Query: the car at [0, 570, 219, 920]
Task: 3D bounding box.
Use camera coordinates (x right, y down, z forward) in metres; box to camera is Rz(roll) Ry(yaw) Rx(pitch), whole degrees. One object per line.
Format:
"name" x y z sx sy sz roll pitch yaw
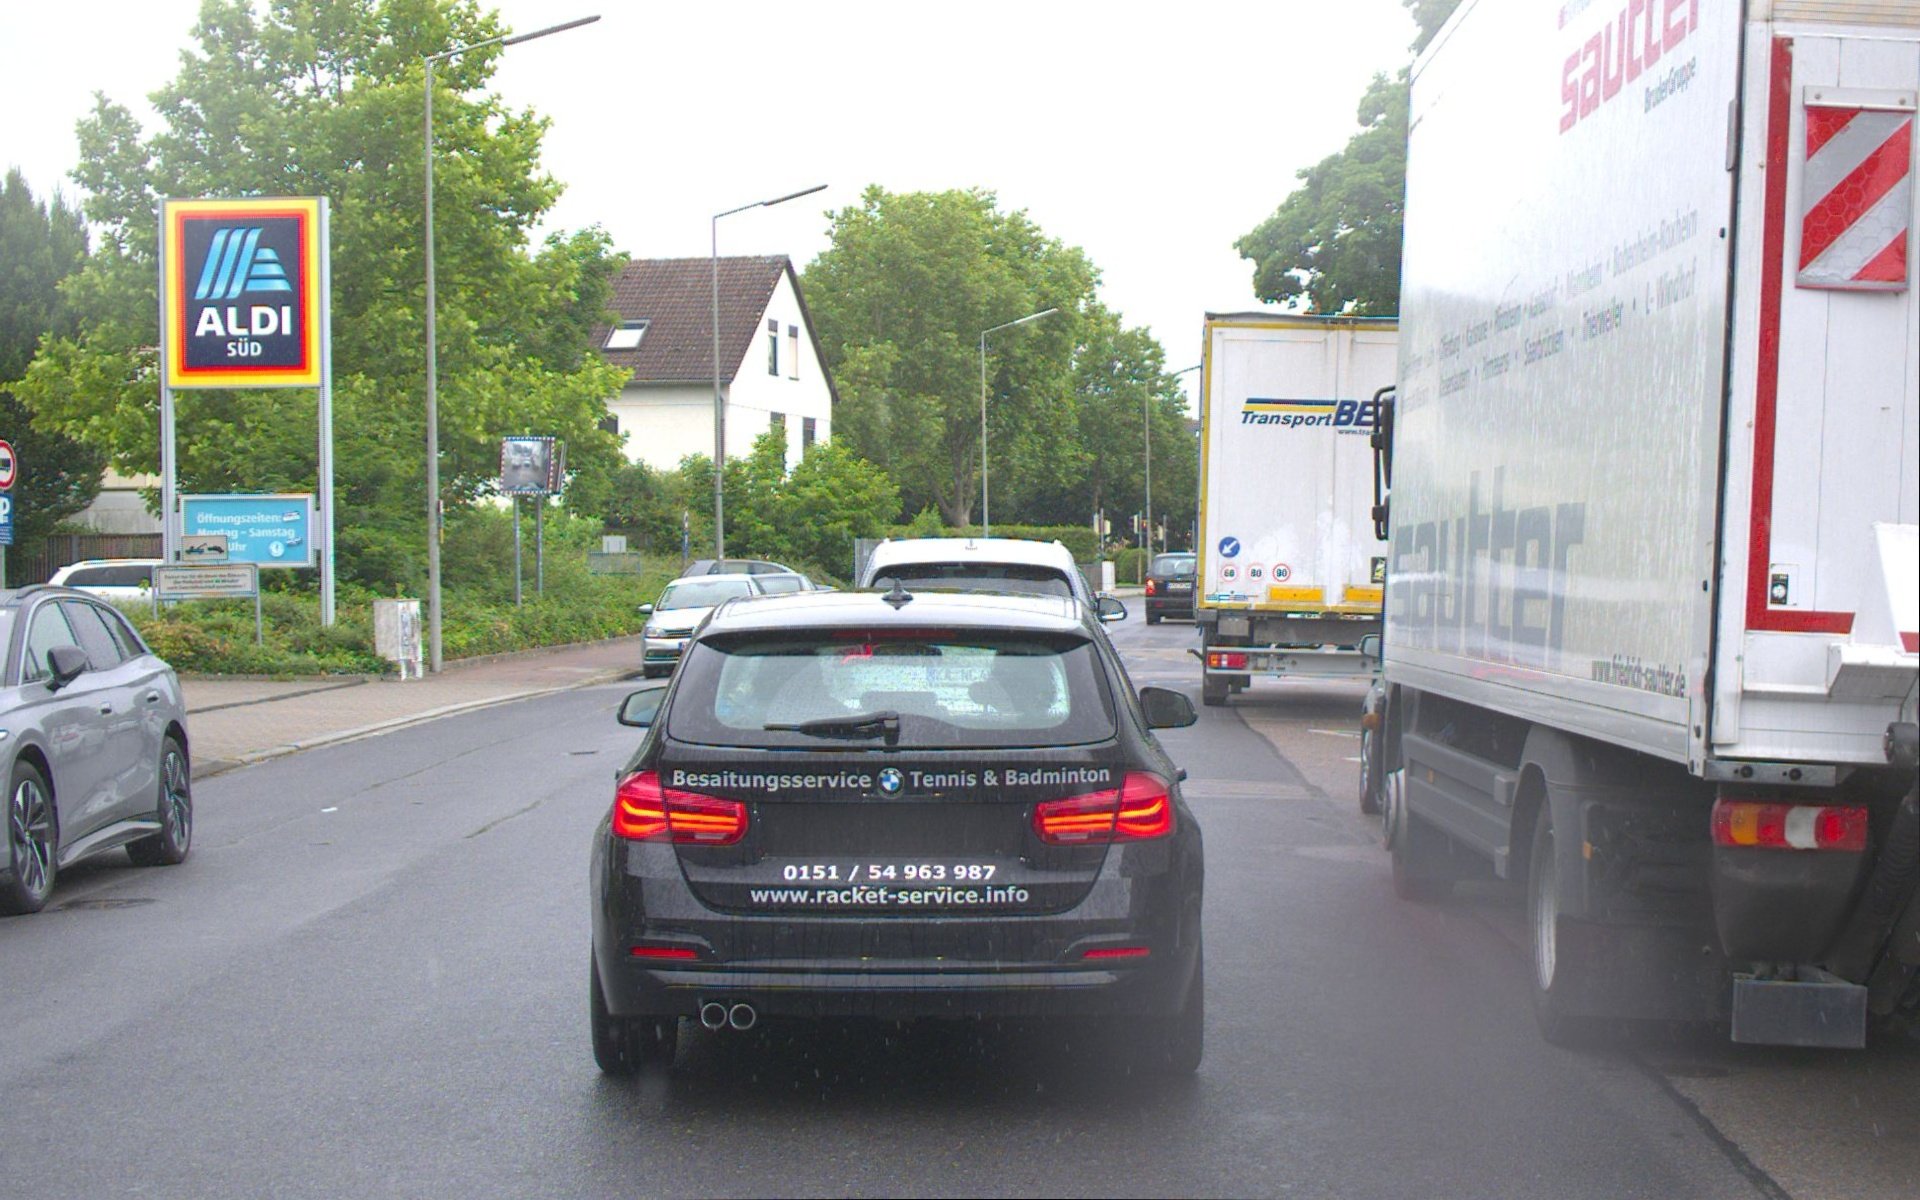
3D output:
"car" -5.144 0.675 17.130 1.809 1.523 4.748 -4 0 0

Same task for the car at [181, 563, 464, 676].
"car" -8.884 0.254 48.074 3.570 1.455 1.712 1 1 2

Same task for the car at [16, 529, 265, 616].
"car" -14.714 -0.503 61.854 3.987 1.535 1.910 0 1 2

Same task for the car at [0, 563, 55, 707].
"car" -11.694 0.333 35.629 4.190 1.455 1.712 0 1 -2

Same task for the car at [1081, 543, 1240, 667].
"car" 2.803 0.068 48.878 1.993 1.678 4.000 0 0 0

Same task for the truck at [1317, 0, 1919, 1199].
"truck" 3.171 -0.456 12.500 2.741 3.776 9.299 2 1 1

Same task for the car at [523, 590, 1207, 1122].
"car" -0.303 0.676 11.131 1.804 1.390 4.000 0 0 -1

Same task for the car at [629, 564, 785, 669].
"car" -3.638 0.200 50.196 1.705 1.362 4.601 -3 1 2

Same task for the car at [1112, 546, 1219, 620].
"car" 4.575 -0.387 76.143 1.805 1.581 3.998 1 0 12

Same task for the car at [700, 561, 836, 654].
"car" -3.096 0.100 56.170 1.706 1.362 3.837 -3 1 4

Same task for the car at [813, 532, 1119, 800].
"car" -0.016 0.383 22.442 1.804 1.581 4.000 0 0 -1

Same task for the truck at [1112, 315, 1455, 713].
"truck" 3.175 -0.848 35.807 2.741 3.598 7.750 2 1 0

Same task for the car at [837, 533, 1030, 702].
"car" -0.291 0.155 34.369 1.804 1.581 4.000 0 0 -1

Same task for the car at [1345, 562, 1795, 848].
"car" 3.351 0.511 19.687 1.797 1.436 4.345 -1 1 0

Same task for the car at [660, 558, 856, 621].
"car" -4.414 -0.229 75.545 4.187 1.358 1.589 0 1 2
